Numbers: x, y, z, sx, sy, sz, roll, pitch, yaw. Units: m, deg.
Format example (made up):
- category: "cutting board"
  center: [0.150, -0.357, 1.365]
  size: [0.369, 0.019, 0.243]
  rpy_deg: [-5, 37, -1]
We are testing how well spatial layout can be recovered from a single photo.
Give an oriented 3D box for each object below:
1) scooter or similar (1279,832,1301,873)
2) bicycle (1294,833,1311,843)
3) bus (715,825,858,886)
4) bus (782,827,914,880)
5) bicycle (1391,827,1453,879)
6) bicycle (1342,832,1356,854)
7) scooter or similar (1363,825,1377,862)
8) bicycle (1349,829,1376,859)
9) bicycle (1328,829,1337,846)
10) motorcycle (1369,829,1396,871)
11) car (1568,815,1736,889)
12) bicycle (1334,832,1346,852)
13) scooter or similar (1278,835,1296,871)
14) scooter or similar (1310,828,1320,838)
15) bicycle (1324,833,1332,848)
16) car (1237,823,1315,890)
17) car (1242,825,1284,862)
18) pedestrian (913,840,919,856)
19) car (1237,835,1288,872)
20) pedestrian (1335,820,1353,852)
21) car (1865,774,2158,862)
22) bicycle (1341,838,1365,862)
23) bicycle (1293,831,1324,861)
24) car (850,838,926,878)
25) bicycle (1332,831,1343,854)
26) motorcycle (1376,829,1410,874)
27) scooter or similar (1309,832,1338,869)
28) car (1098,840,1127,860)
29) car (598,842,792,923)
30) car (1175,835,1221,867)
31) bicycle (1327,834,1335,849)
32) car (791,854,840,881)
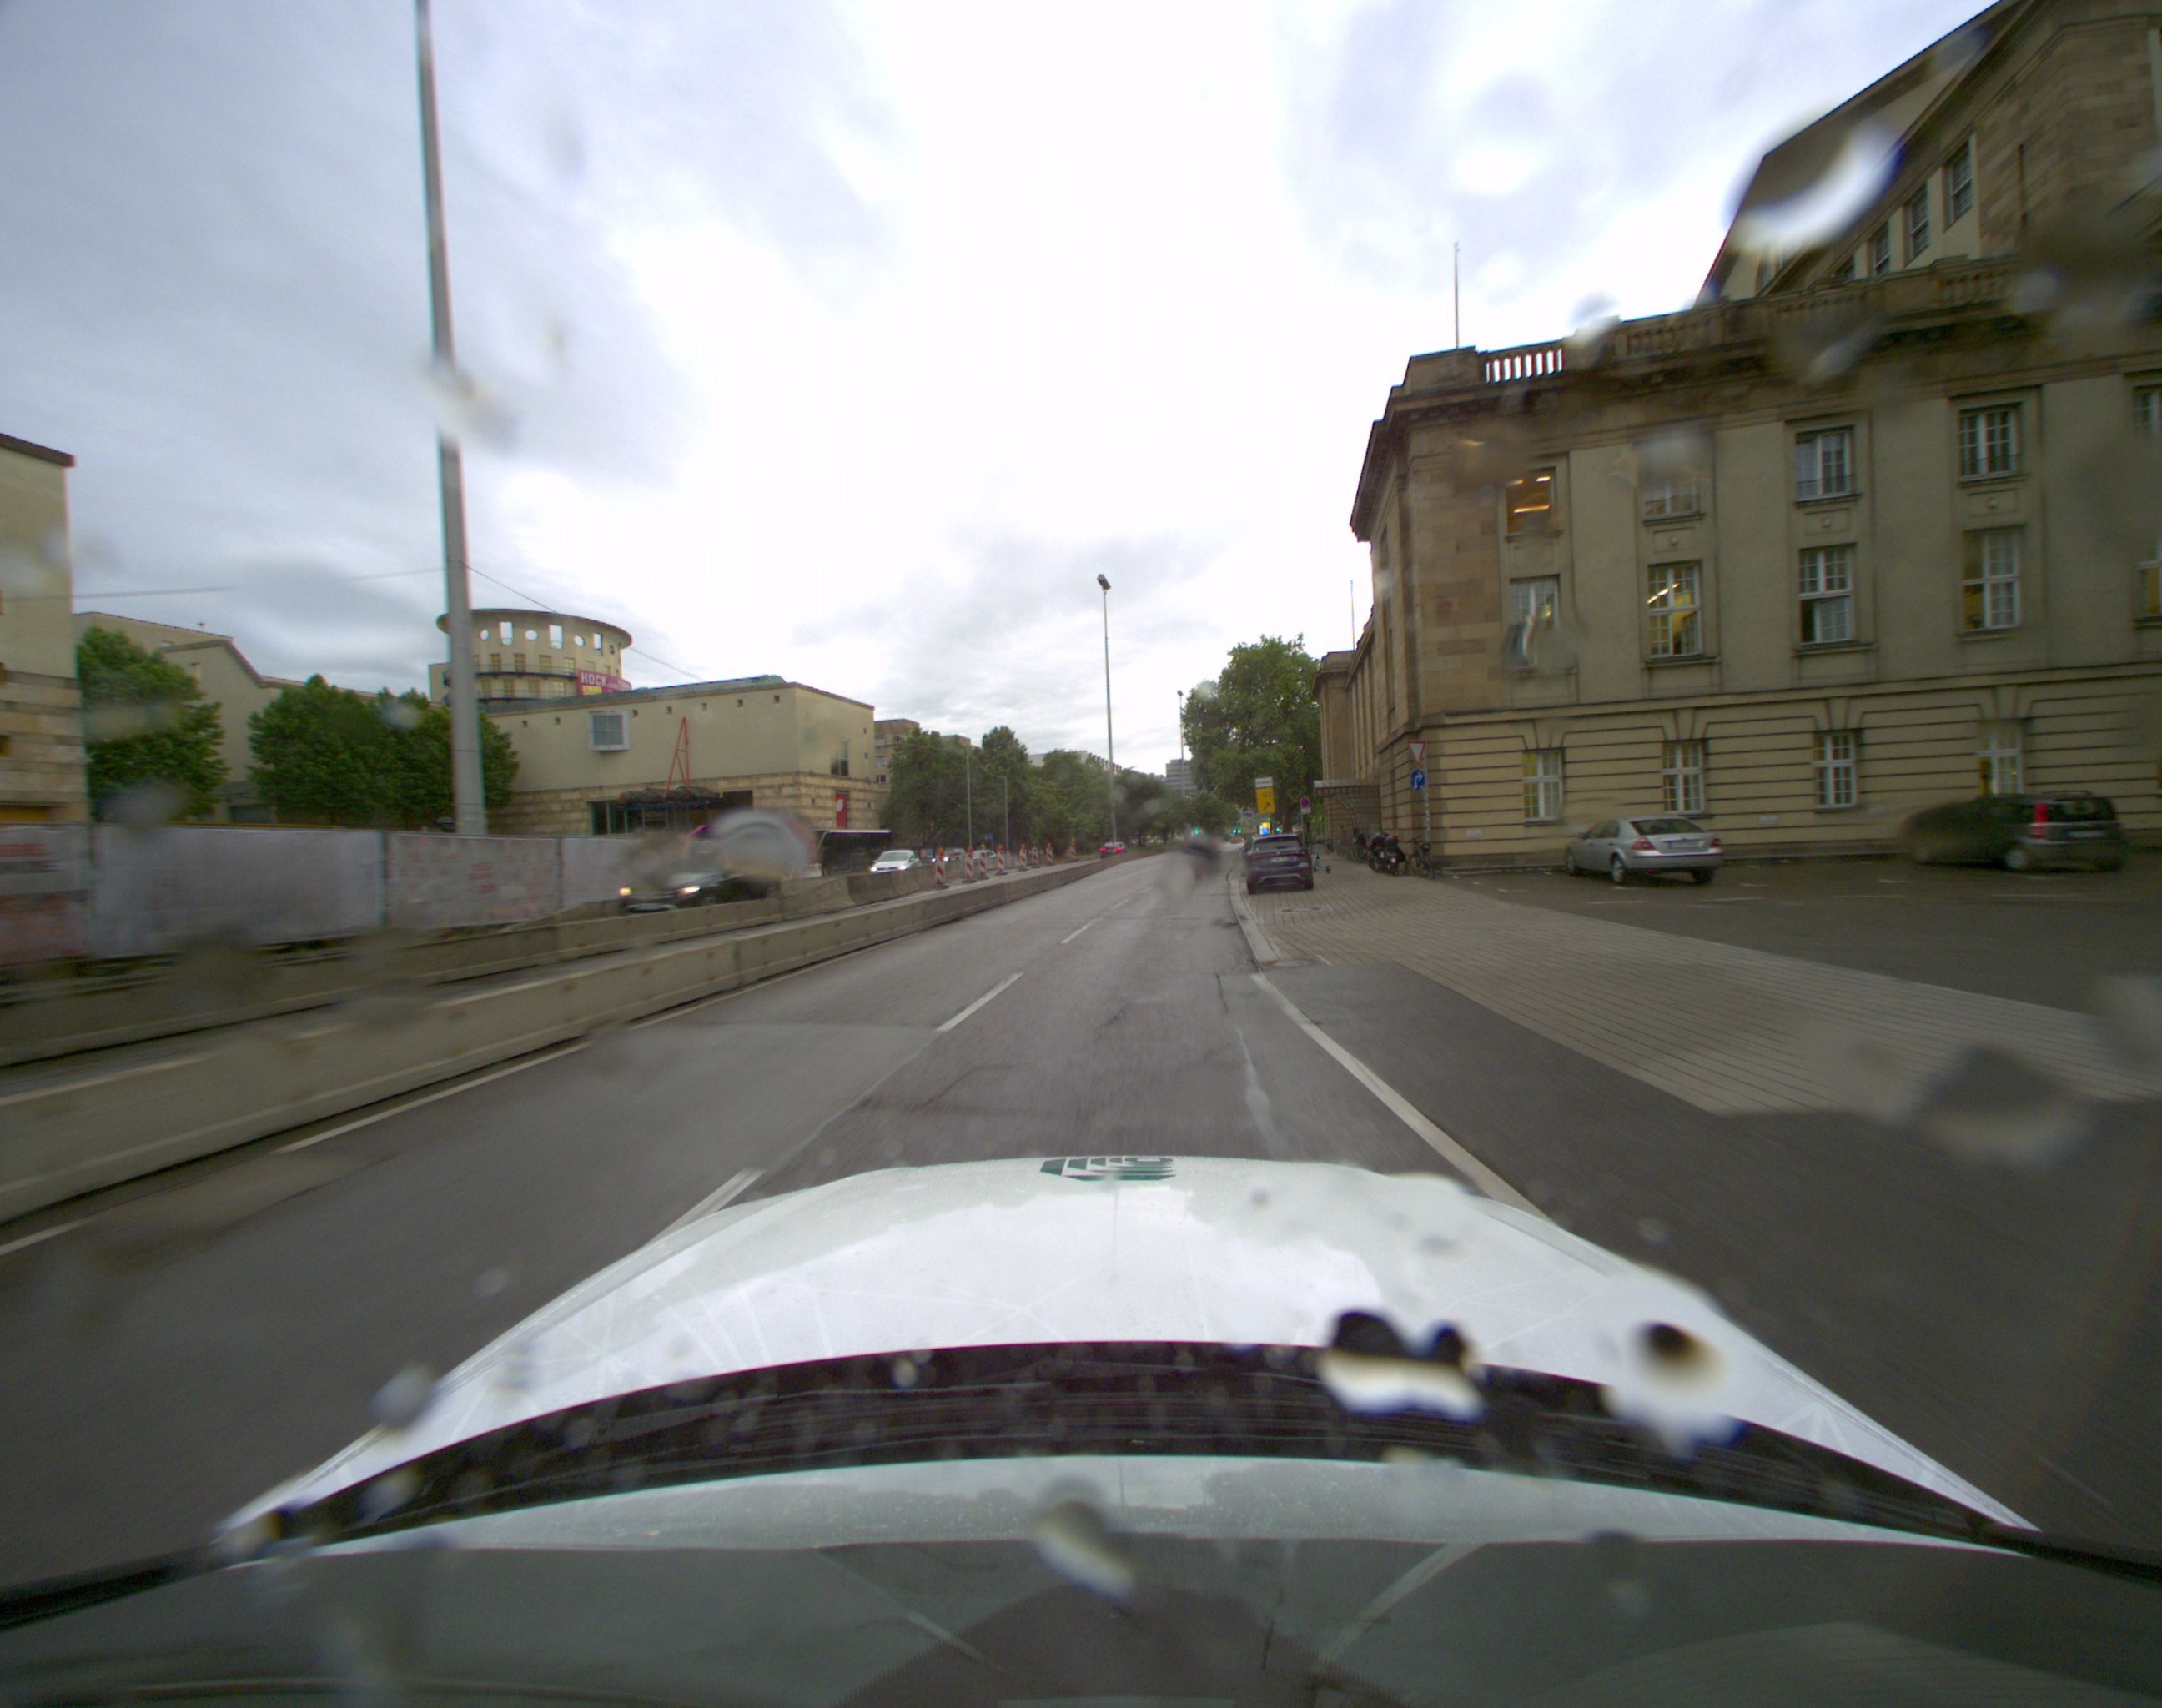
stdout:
- category: "scooter or similar"
  center: [6.947, -0.058, 27.128]
  size: [0.432, 1.319, 1.078]
  rpy_deg: [-2, 1, 2]
- category: "bicycle"
  center: [22.827, -1.649, 83.966]
  size: [1.628, 1.020, 0.577]
  rpy_deg: [0, 1, 17]
- category: "bus"
  center: [-22.452, -0.064, 63.605]
  size: [3.095, 4.251, 13.553]
  rpy_deg: [-1, 2, 16]
- category: "bus"
  center: [-18.355, -0.248, 66.061]
  size: [2.783, 3.810, 14.661]
  rpy_deg: [-1, 2, 16]
- category: "bicycle"
  center: [9.264, -0.046, 22.215]
  size: [1.095, 1.317, 1.863]
  rpy_deg: [-2, 1, 9]
- category: "bicycle"
  center: [13.378, -0.556, 40.676]
  size: [0.579, 1.038, 1.766]
  rpy_deg: [-2, 1, 16]
- category: "scooter or similar"
  center: [11.455, -0.416, 32.320]
  size: [0.410, 1.417, 1.273]
  rpy_deg: [-2, 0, 16]
- category: "bicycle"
  center: [12.441, -0.446, 36.003]
  size: [0.726, 1.268, 1.763]
  rpy_deg: [-3, 0, 7]
- category: "bicycle"
  center: [18.577, -1.202, 60.128]
  size: [0.450, 1.251, 1.605]
  rpy_deg: [-1, 1, 11]
- category: "motorcycle"
  center: [10.011, -0.151, 27.087]
  size: [0.662, 1.325, 2.144]
  rpy_deg: [-2, 1, 16]
- category: "car"
  center: [12.490, -0.069, 18.121]
  size: [1.510, 1.410, 4.142]
  rpy_deg: [-3, 1, 12]
- category: "bicycle"
  center: [15.864, -0.727, 49.889]
  size: [0.461, 1.215, 1.697]
  rpy_deg: [-2, 1, 11]
- category: "scooter or similar"
  center: [7.118, -0.044, 28.119]
  size: [0.431, 1.216, 1.125]
  rpy_deg: [-5, 0, 10]
- category: "scooter or similar"
  center: [29.317, -2.652, 102.040]
  size: [0.543, 1.255, 1.428]
  rpy_deg: [-4, 1, -18]
- category: "bicycle"
  center: [18.538, -1.028, 61.040]
  size: [0.350, 1.080, 1.795]
  rpy_deg: [-4, 0, 12]
- category: "car"
  center: [5.458, -0.007, 23.067]
  size: [1.859, 1.619, 4.419]
  rpy_deg: [-3, 1, 12]
- category: "car"
  center: [9.630, -0.548, 42.864]
  size: [1.979, 1.781, 4.205]
  rpy_deg: [-2, 1, 14]
- category: "pedestrian"
  center: [-20.831, -0.792, 102.715]
  size: [0.474, 2.013, 0.514]
  rpy_deg: [-4, 0, 13]
- category: "car"
  center: [7.599, -0.033, 33.943]
  size: [1.745, 1.414, 3.167]
  rpy_deg: [-2, 1, 17]
- category: "pedestrian"
  center: [15.171, -1.025, 47.054]
  size: [0.789, 1.777, 0.644]
  rpy_deg: [-5, 0, 12]
- category: "car"
  center: [19.536, -0.740, 17.476]
  size: [1.806, 1.539, 4.525]
  rpy_deg: [-3, 1, 13]
- category: "bicycle"
  center: [12.654, -0.203, 37.902]
  size: [0.708, 1.051, 1.744]
  rpy_deg: [-2, 1, 8]
- category: "bicycle"
  center: [9.867, -0.333, 35.400]
  size: [0.773, 1.218, 1.966]
  rpy_deg: [-4, 1, 2]
- category: "car"
  center: [-8.333, 0.136, 35.588]
  size: [1.984, 1.530, 4.006]
  rpy_deg: [-3, 1, 5]
- category: "bicycle"
  center: [17.064, -0.776, 54.268]
  size: [0.451, 1.515, 1.604]
  rpy_deg: [-1, 1, 9]
- category: "motorcycle"
  center: [9.524, -0.099, 24.916]
  size: [0.800, 1.298, 1.807]
  rpy_deg: [-2, 1, 16]
- category: "scooter or similar"
  center: [8.654, -0.122, 29.139]
  size: [0.434, 1.293, 1.253]
  rpy_deg: [-2, 0, -11]
- category: "car"
  center: [2.555, -0.346, 64.966]
  size: [1.744, 1.451, 4.010]
  rpy_deg: [-5, 0, 8]
- category: "car"
  center: [-8.861, 0.567, 19.268]
  size: [1.911, 1.530, 4.768]
  rpy_deg: [-3, 1, 5]
- category: "car"
  center: [5.697, -0.142, 40.060]
  size: [1.836, 1.416, 3.842]
  rpy_deg: [-1, 0, 3]
- category: "bicycle"
  center: [18.228, -0.899, 59.449]
  size: [0.350, 1.080, 1.795]
  rpy_deg: [-1, 1, 12]
- category: "car"
  center: [-17.175, 0.852, 52.778]
  size: [1.582, 1.500, 3.224]
  rpy_deg: [-5, 0, 10]
